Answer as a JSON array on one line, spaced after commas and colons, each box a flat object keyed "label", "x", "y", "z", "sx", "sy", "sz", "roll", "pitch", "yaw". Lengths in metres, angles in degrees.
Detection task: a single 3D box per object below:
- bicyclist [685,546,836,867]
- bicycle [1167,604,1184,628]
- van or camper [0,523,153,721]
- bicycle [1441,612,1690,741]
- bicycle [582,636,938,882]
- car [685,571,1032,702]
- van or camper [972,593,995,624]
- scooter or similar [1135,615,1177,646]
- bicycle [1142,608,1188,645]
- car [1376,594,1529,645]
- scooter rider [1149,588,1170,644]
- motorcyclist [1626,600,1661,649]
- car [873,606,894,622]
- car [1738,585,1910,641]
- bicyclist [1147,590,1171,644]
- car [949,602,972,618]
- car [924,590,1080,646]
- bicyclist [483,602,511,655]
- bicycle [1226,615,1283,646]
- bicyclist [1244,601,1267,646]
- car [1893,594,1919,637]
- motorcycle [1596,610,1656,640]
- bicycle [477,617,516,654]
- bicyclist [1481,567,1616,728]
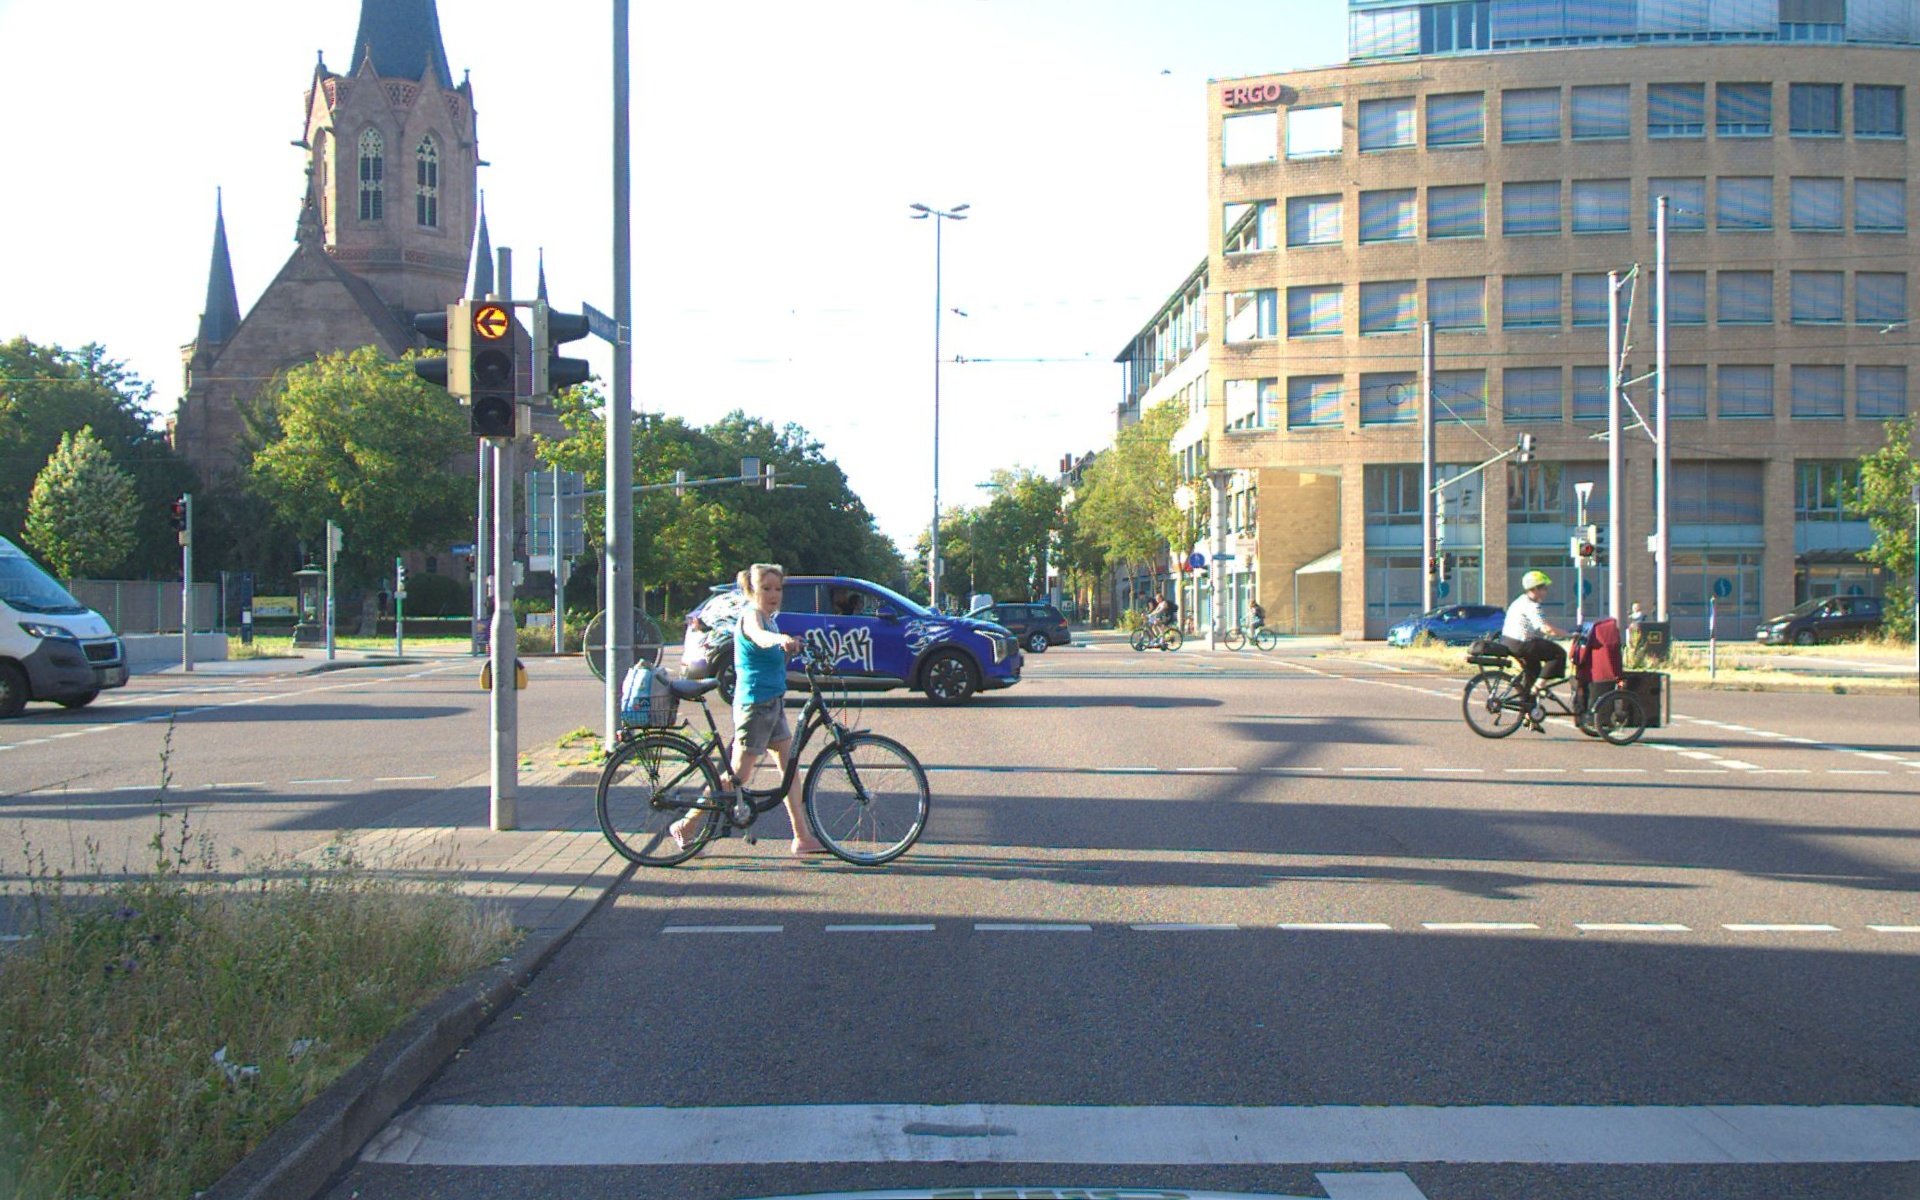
[{"label": "bicyclist", "x": -1.093, "y": 0.562, "z": 9.238, "sx": 0.767, "sy": 1.689, "sz": 0.900, "roll": -1, "pitch": 0, "yaw": -4}, {"label": "bicycle", "x": 11.008, "y": 0.812, "z": 84.558, "sx": 0.757, "sy": 1.216, "sz": 2.467, "roll": 0, "pitch": 0, "yaw": 6}, {"label": "van or camper", "x": -13.780, "y": 0.285, "z": 21.659, "sx": 5.311, "sy": 2.459, "sz": 2.165, "roll": 0, "pitch": 0, "yaw": -1}, {"label": "bicycle", "x": 5.910, "y": 0.730, "z": 16.257, "sx": 2.002, "sy": 1.188, "sz": 1.161, "roll": -1, "pitch": 0, "yaw": -4}, {"label": "bicycle", "x": -1.029, "y": 0.815, "z": 8.781, "sx": 1.791, "sy": 1.209, "sz": 0.733, "roll": 0, "pitch": 0, "yaw": -3}, {"label": "car", "x": -1.265, "y": 0.456, "z": 21.547, "sx": 4.313, "sy": 1.601, "sz": 1.836, "roll": 0, "pitch": 0, "yaw": -1}, {"label": "van or camper", "x": 2.049, "y": 0.697, "z": 146.317, "sx": 1.953, "sy": 2.686, "sz": 5.350, "roll": 0, "pitch": 0, "yaw": 0}, {"label": "scooter or similar", "x": 6.523, "y": 1.007, "z": 54.990, "sx": 1.371, "sy": 1.019, "sz": 0.475, "roll": 0, "pitch": 0, "yaw": 5}, {"label": "bicycle", "x": 6.694, "y": 0.856, "z": 54.082, "sx": 1.487, "sy": 1.193, "sz": 0.475, "roll": 0, "pitch": 0, "yaw": 5}, {"label": "car", "x": 15.423, "y": 0.590, "z": 51.921, "sx": 4.146, "sy": 1.528, "sz": 1.998, "roll": 0, "pitch": 0, "yaw": -5}, {"label": "scooter rider", "x": 6.615, "y": 0.543, "z": 54.976, "sx": 0.666, "sy": 1.846, "sz": 0.475, "roll": 0, "pitch": 0, "yaw": 5}, {"label": "motorcyclist", "x": 22.874, "y": 0.803, "z": 55.338, "sx": 0.830, "sy": 1.613, "sz": 0.802, "roll": 0, "pitch": 0, "yaw": -1}, {"label": "car", "x": -6.910, "y": 1.257, "z": 150.013, "sx": 1.744, "sy": 1.474, "sz": 3.999, "roll": 0, "pitch": 0, "yaw": -1}, {"label": "car", "x": 25.966, "y": 0.382, "z": 49.811, "sx": 4.142, "sy": 1.642, "sz": 2.000, "roll": 0, "pitch": 0, "yaw": 0}, {"label": "bicyclist", "x": 6.504, "y": 0.553, "z": 54.097, "sx": 0.774, "sy": 1.766, "sz": 0.475, "roll": 0, "pitch": 0, "yaw": 5}, {"label": "car", "x": 0.004, "y": 1.025, "z": 171.489, "sx": 1.956, "sy": 1.620, "sz": 3.994, "roll": 0, "pitch": 0, "yaw": -7}, {"label": "car", "x": 1.239, "y": 0.528, "z": 50.365, "sx": 4.555, "sy": 1.626, "sz": 1.998, "roll": 0, "pitch": 0, "yaw": -5}, {"label": "bicyclist", "x": -15.119, "y": 0.916, "z": 53.990, "sx": 0.634, "sy": 1.724, "sz": 0.772, "roll": 0, "pitch": 0, "yaw": -37}, {"label": "bicycle", "x": 9.747, "y": 1.007, "z": 54.752, "sx": 1.783, "sy": 1.001, "sz": 0.534, "roll": 0, "pitch": 0, "yaw": 2}, {"label": "bicyclist", "x": 9.784, "y": 0.773, "z": 54.752, "sx": 0.652, "sy": 1.495, "sz": 0.534, "roll": 0, "pitch": 0, "yaw": 2}, {"label": "car", "x": 32.131, "y": 0.481, "z": 53.005, "sx": 3.535, "sy": 1.366, "sz": 1.721, "roll": 0, "pitch": 0, "yaw": -2}, {"label": "motorcycle", "x": 22.259, "y": 0.841, "z": 55.289, "sx": 1.780, "sy": 0.970, "sz": 0.524, "roll": 0, "pitch": 0, "yaw": -2}, {"label": "bicycle", "x": -15.143, "y": 1.160, "z": 54.020, "sx": 0.641, "sy": 1.159, "sz": 1.657, "roll": 0, "pitch": 0, "yaw": -38}, {"label": "bicyclist", "x": 5.762, "y": 0.447, "z": 16.254, "sx": 0.862, "sy": 1.513, "sz": 1.161, "roll": 0, "pitch": 0, "yaw": -3}]
